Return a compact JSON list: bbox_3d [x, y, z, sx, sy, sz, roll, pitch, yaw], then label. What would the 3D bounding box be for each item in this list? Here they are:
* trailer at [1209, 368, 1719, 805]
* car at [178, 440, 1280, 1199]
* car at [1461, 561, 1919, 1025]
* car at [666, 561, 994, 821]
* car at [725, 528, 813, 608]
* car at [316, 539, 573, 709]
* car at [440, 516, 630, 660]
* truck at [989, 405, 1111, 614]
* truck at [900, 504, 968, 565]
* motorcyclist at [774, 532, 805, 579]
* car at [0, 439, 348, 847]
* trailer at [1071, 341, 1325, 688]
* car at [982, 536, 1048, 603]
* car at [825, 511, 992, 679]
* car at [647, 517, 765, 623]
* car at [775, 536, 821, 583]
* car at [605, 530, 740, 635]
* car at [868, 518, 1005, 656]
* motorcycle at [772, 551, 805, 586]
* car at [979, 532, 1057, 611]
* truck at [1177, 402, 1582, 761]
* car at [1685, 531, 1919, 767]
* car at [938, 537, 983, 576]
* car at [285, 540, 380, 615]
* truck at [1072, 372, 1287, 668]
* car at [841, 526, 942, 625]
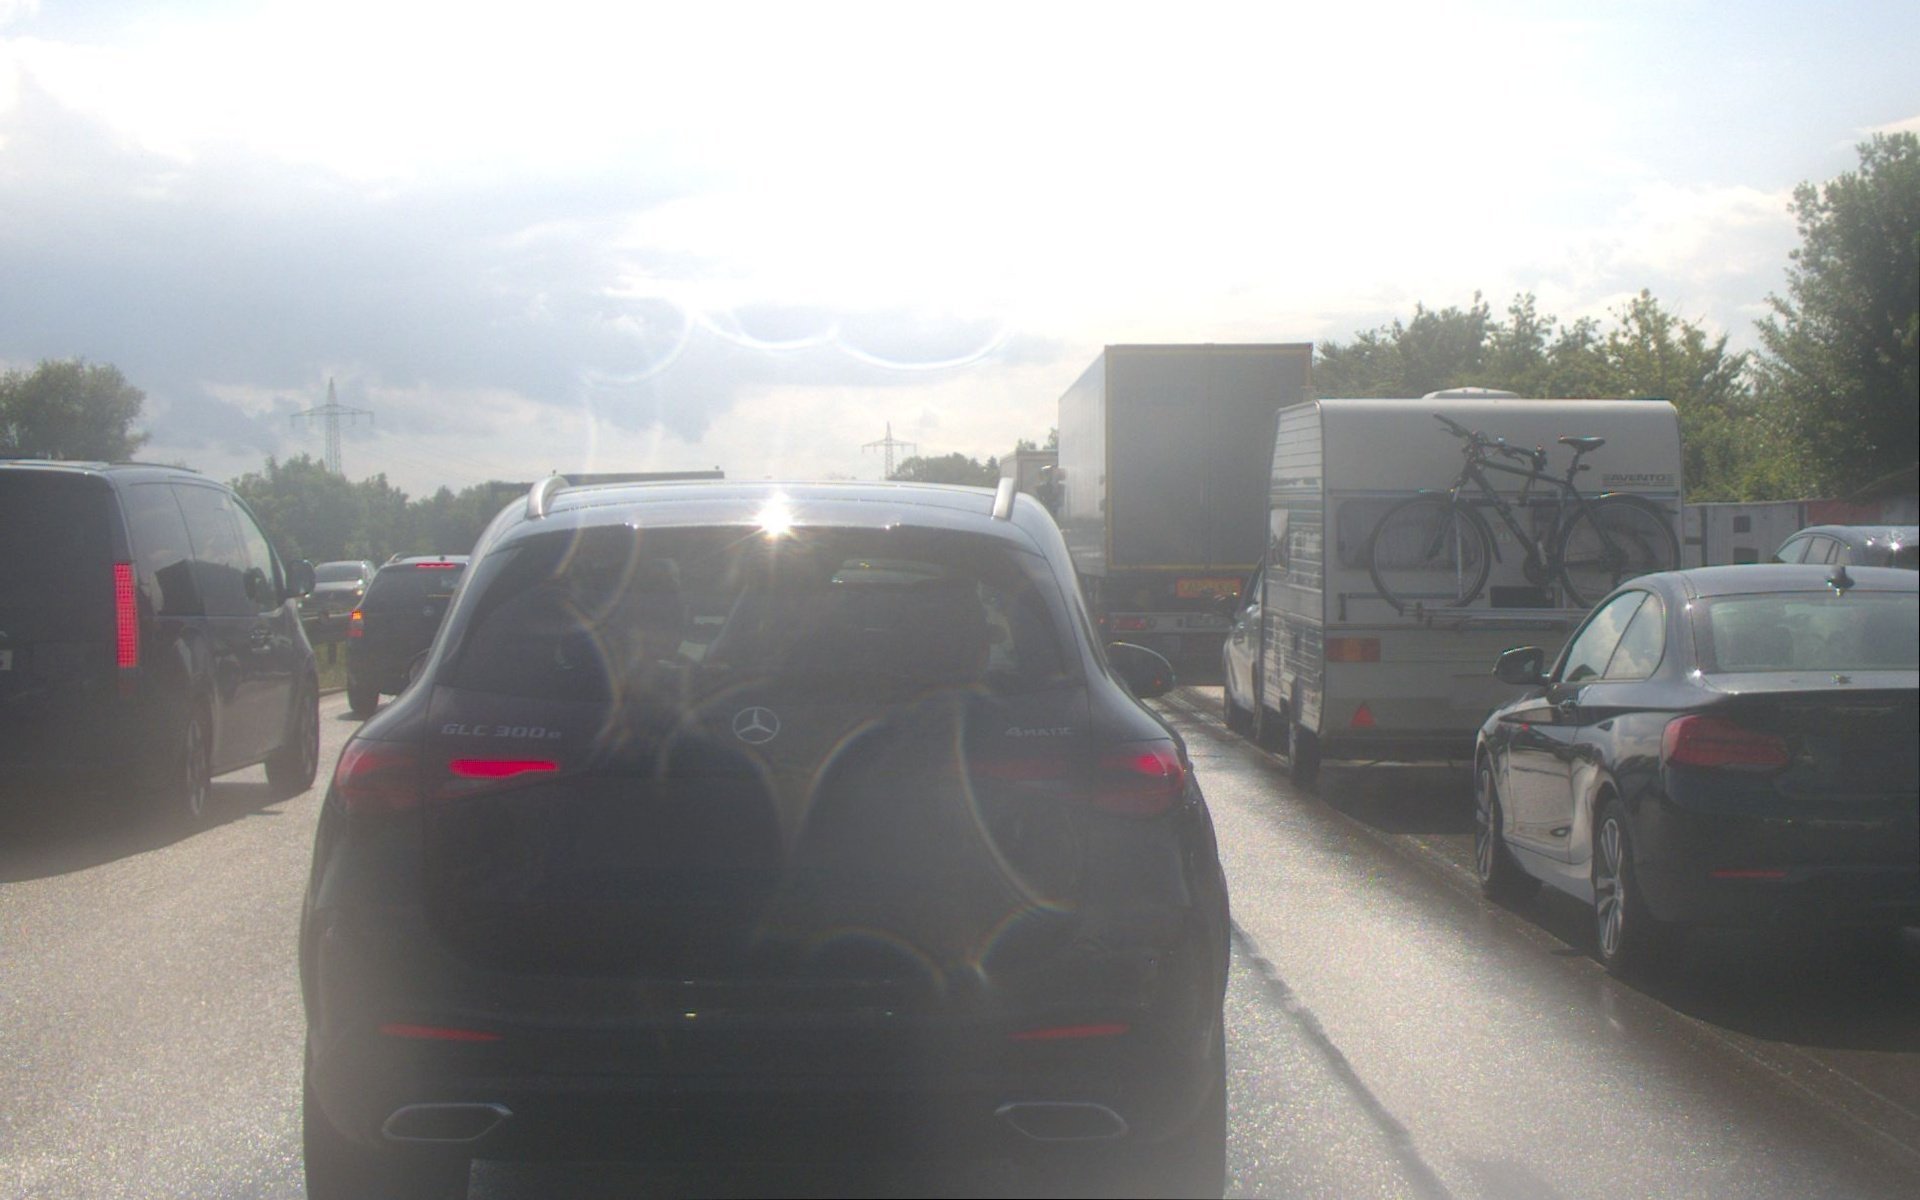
[{"bbox_3d":[3.129,-0.114,22.991,2.374,2.475,6.523,1,1,0],"label":"trailer"},{"bbox_3d":[-0.435,0.517,8.431,1.993,1.656,4.406,0,1,0],"label":"car"},{"bbox_3d":[3.106,0.590,13.052,1.848,1.459,4.255,-1,1,1],"label":"car"},{"bbox_3d":[-0.682,0.466,20.464,1.757,1.382,3.945,0,1,1],"label":"car"},{"bbox_3d":[-5.102,-0.876,92.256,1.993,2.007,4.000,3,1,0],"label":"car"},{"bbox_3d":[-4.809,0.180,32.610,1.757,1.511,4.209,0,1,1],"label":"car"},{"bbox_3d":[-5.334,-0.172,43.609,1.993,1.714,4.000,1,1,-2],"label":"car"},{"bbox_3d":[2.116,-2.131,83.427,2.502,4.813,7.544,1,1,-1],"label":"truck"},{"bbox_3d":[-1.832,-4.371,232.368,3.842,4.003,11.223,1,1,-4],"label":"truck"},{"bbox_3d":[-6.207,-1.607,124.990,1.064,1.712,0.785,0,0,0],"label":"motorcyclist"},{"bbox_3d":[-4.934,0.169,19.566,1.993,2.007,5.270,0,1,0],"label":"car"},{"bbox_3d":[2.995,-1.083,45.599,3.007,4.152,8.535,1,1,2],"label":"trailer"},{"bbox_3d":[1.765,-1.008,111.683,1.993,2.007,4.000,4,1,0],"label":"car"},{"bbox_3d":[-0.609,-0.090,43.594,1.993,2.007,4.000,1,1,0],"label":"car"},{"bbox_3d":[-5.221,-0.634,71.244,1.993,2.007,4.000,4,1,0],"label":"car"},{"bbox_3d":[-7.461,-1.872,158.628,1.993,2.007,4.001,4,1,-3],"label":"car"},{"bbox_3d":[-4.982,-0.330,60.101,1.993,1.766,4.000,0,1,0],"label":"car"},{"bbox_3d":[-0.349,-0.222,55.136,1.993,2.007,4.000,4,1,0],"label":"car"},{"bbox_3d":[-6.212,-1.163,124.922,1.074,1.267,2.690,0,1,0],"label":"motorcycle"},{"bbox_3d":[1.532,-0.780,92.410,1.993,2.007,4.000,2,1,0],"label":"car"},{"bbox_3d":[3.096,-0.160,26.768,2.374,2.468,5.756,1,1,0],"label":"truck"},{"bbox_3d":[6.817,0.288,25.187,1.993,1.576,4.653,0,1,0],"label":"car"},{"bbox_3d":[0.007,-2.041,161.523,1.876,1.754,4.001,1,1,-3],"label":"car"},{"bbox_3d":[-17.178,-0.601,94.248,1.993,2.007,4.000,0,0,-2],"label":"car"},{"bbox_3d":[3.180,-1.162,51.180,2.995,4.152,5.240,1,1,2],"label":"truck"},{"bbox_3d":[-1.403,-0.519,71.954,1.993,2.007,4.000,0,1,0],"label":"car"}]
